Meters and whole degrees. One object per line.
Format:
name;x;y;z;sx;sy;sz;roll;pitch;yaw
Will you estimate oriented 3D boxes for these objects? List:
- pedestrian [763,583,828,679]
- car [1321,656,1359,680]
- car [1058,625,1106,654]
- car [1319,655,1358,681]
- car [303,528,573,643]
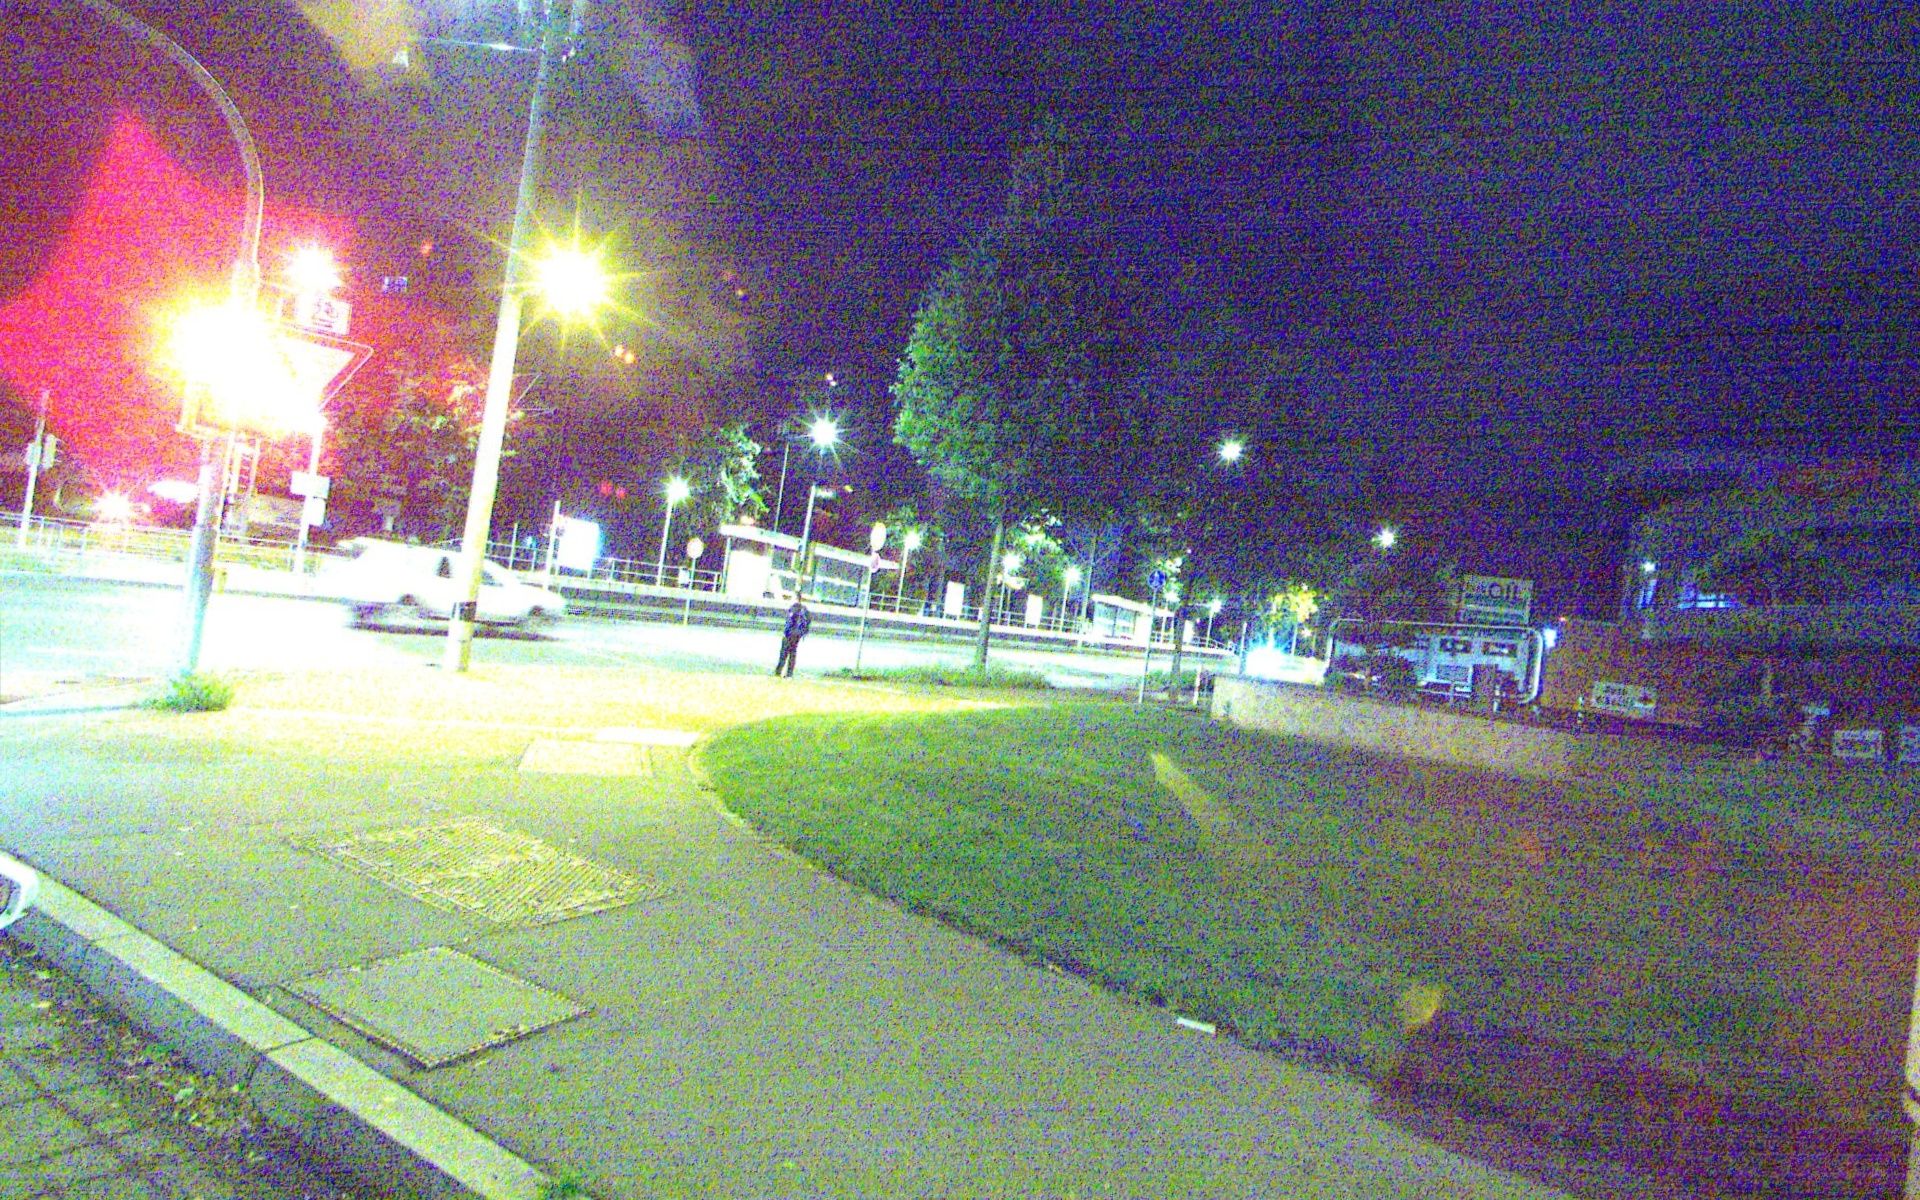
pedestrian;-3.183;0.608;19.486;0.820;1.766;0.755;5;1;31
car;32.254;5.813;85.285;1.784;1.584;4.514;10;0;35
car;9.899;3.215;81.324;1.970;2.039;3.985;6;0;36
car;28.003;5.054;74.365;1.660;1.525;3.833;9;0;34
car;-10.226;-0.213;20.032;1.845;1.703;4.287;8;0;33
